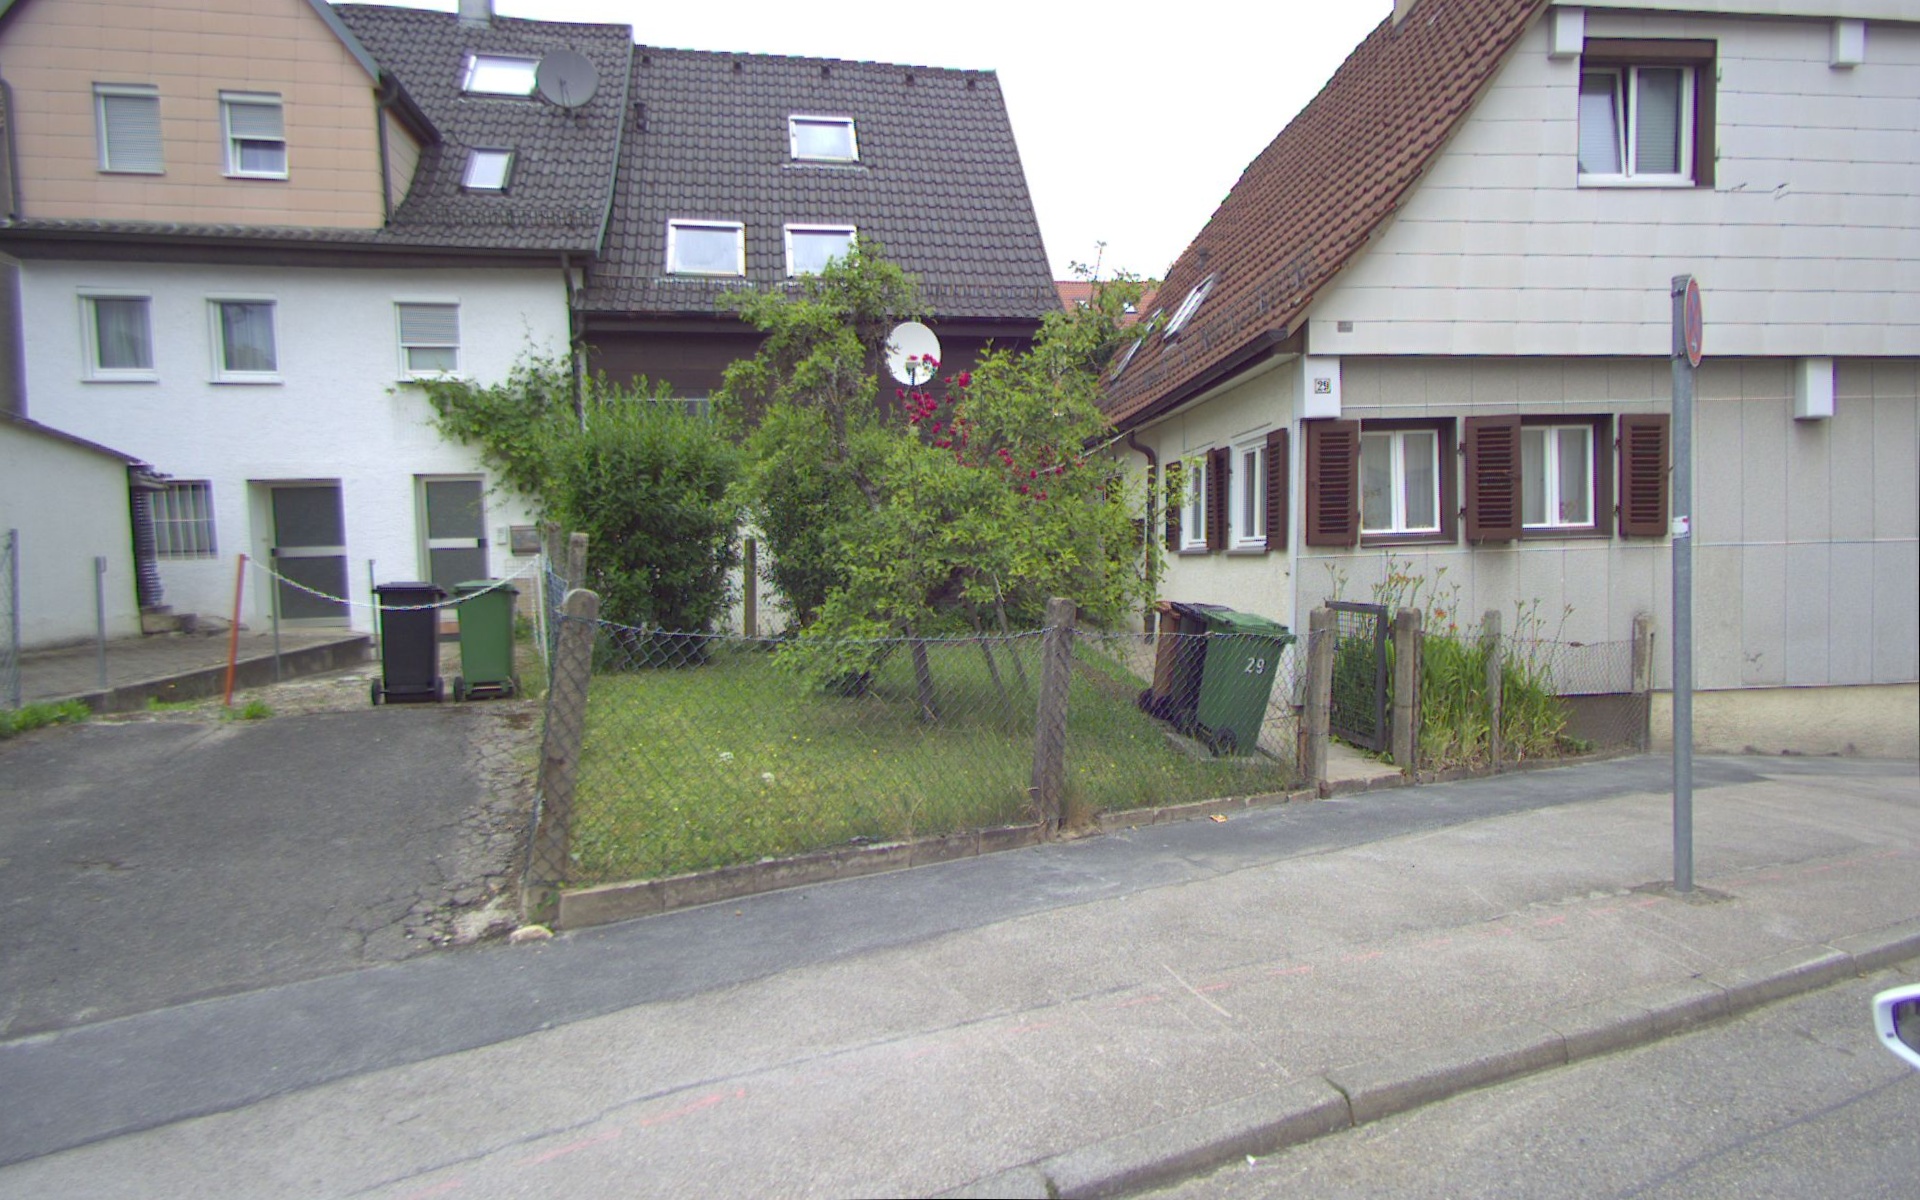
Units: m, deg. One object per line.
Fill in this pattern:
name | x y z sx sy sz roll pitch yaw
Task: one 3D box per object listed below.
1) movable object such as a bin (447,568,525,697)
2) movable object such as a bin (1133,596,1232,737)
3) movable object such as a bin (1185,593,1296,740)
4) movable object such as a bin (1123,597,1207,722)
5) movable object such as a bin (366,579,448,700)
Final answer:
movable object such as a bin | -3.752 0.255 7.970 0.500 0.994 0.398 1 0 -20
movable object such as a bin | 1.597 0.469 7.275 0.481 0.929 0.527 4 4 -7
movable object such as a bin | 1.876 0.431 6.773 0.481 0.896 0.527 4 4 -7
movable object such as a bin | 1.586 0.453 7.828 0.444 0.890 0.495 4 4 -6
movable object such as a bin | -4.278 0.300 7.788 0.482 0.905 0.375 1 1 -20
